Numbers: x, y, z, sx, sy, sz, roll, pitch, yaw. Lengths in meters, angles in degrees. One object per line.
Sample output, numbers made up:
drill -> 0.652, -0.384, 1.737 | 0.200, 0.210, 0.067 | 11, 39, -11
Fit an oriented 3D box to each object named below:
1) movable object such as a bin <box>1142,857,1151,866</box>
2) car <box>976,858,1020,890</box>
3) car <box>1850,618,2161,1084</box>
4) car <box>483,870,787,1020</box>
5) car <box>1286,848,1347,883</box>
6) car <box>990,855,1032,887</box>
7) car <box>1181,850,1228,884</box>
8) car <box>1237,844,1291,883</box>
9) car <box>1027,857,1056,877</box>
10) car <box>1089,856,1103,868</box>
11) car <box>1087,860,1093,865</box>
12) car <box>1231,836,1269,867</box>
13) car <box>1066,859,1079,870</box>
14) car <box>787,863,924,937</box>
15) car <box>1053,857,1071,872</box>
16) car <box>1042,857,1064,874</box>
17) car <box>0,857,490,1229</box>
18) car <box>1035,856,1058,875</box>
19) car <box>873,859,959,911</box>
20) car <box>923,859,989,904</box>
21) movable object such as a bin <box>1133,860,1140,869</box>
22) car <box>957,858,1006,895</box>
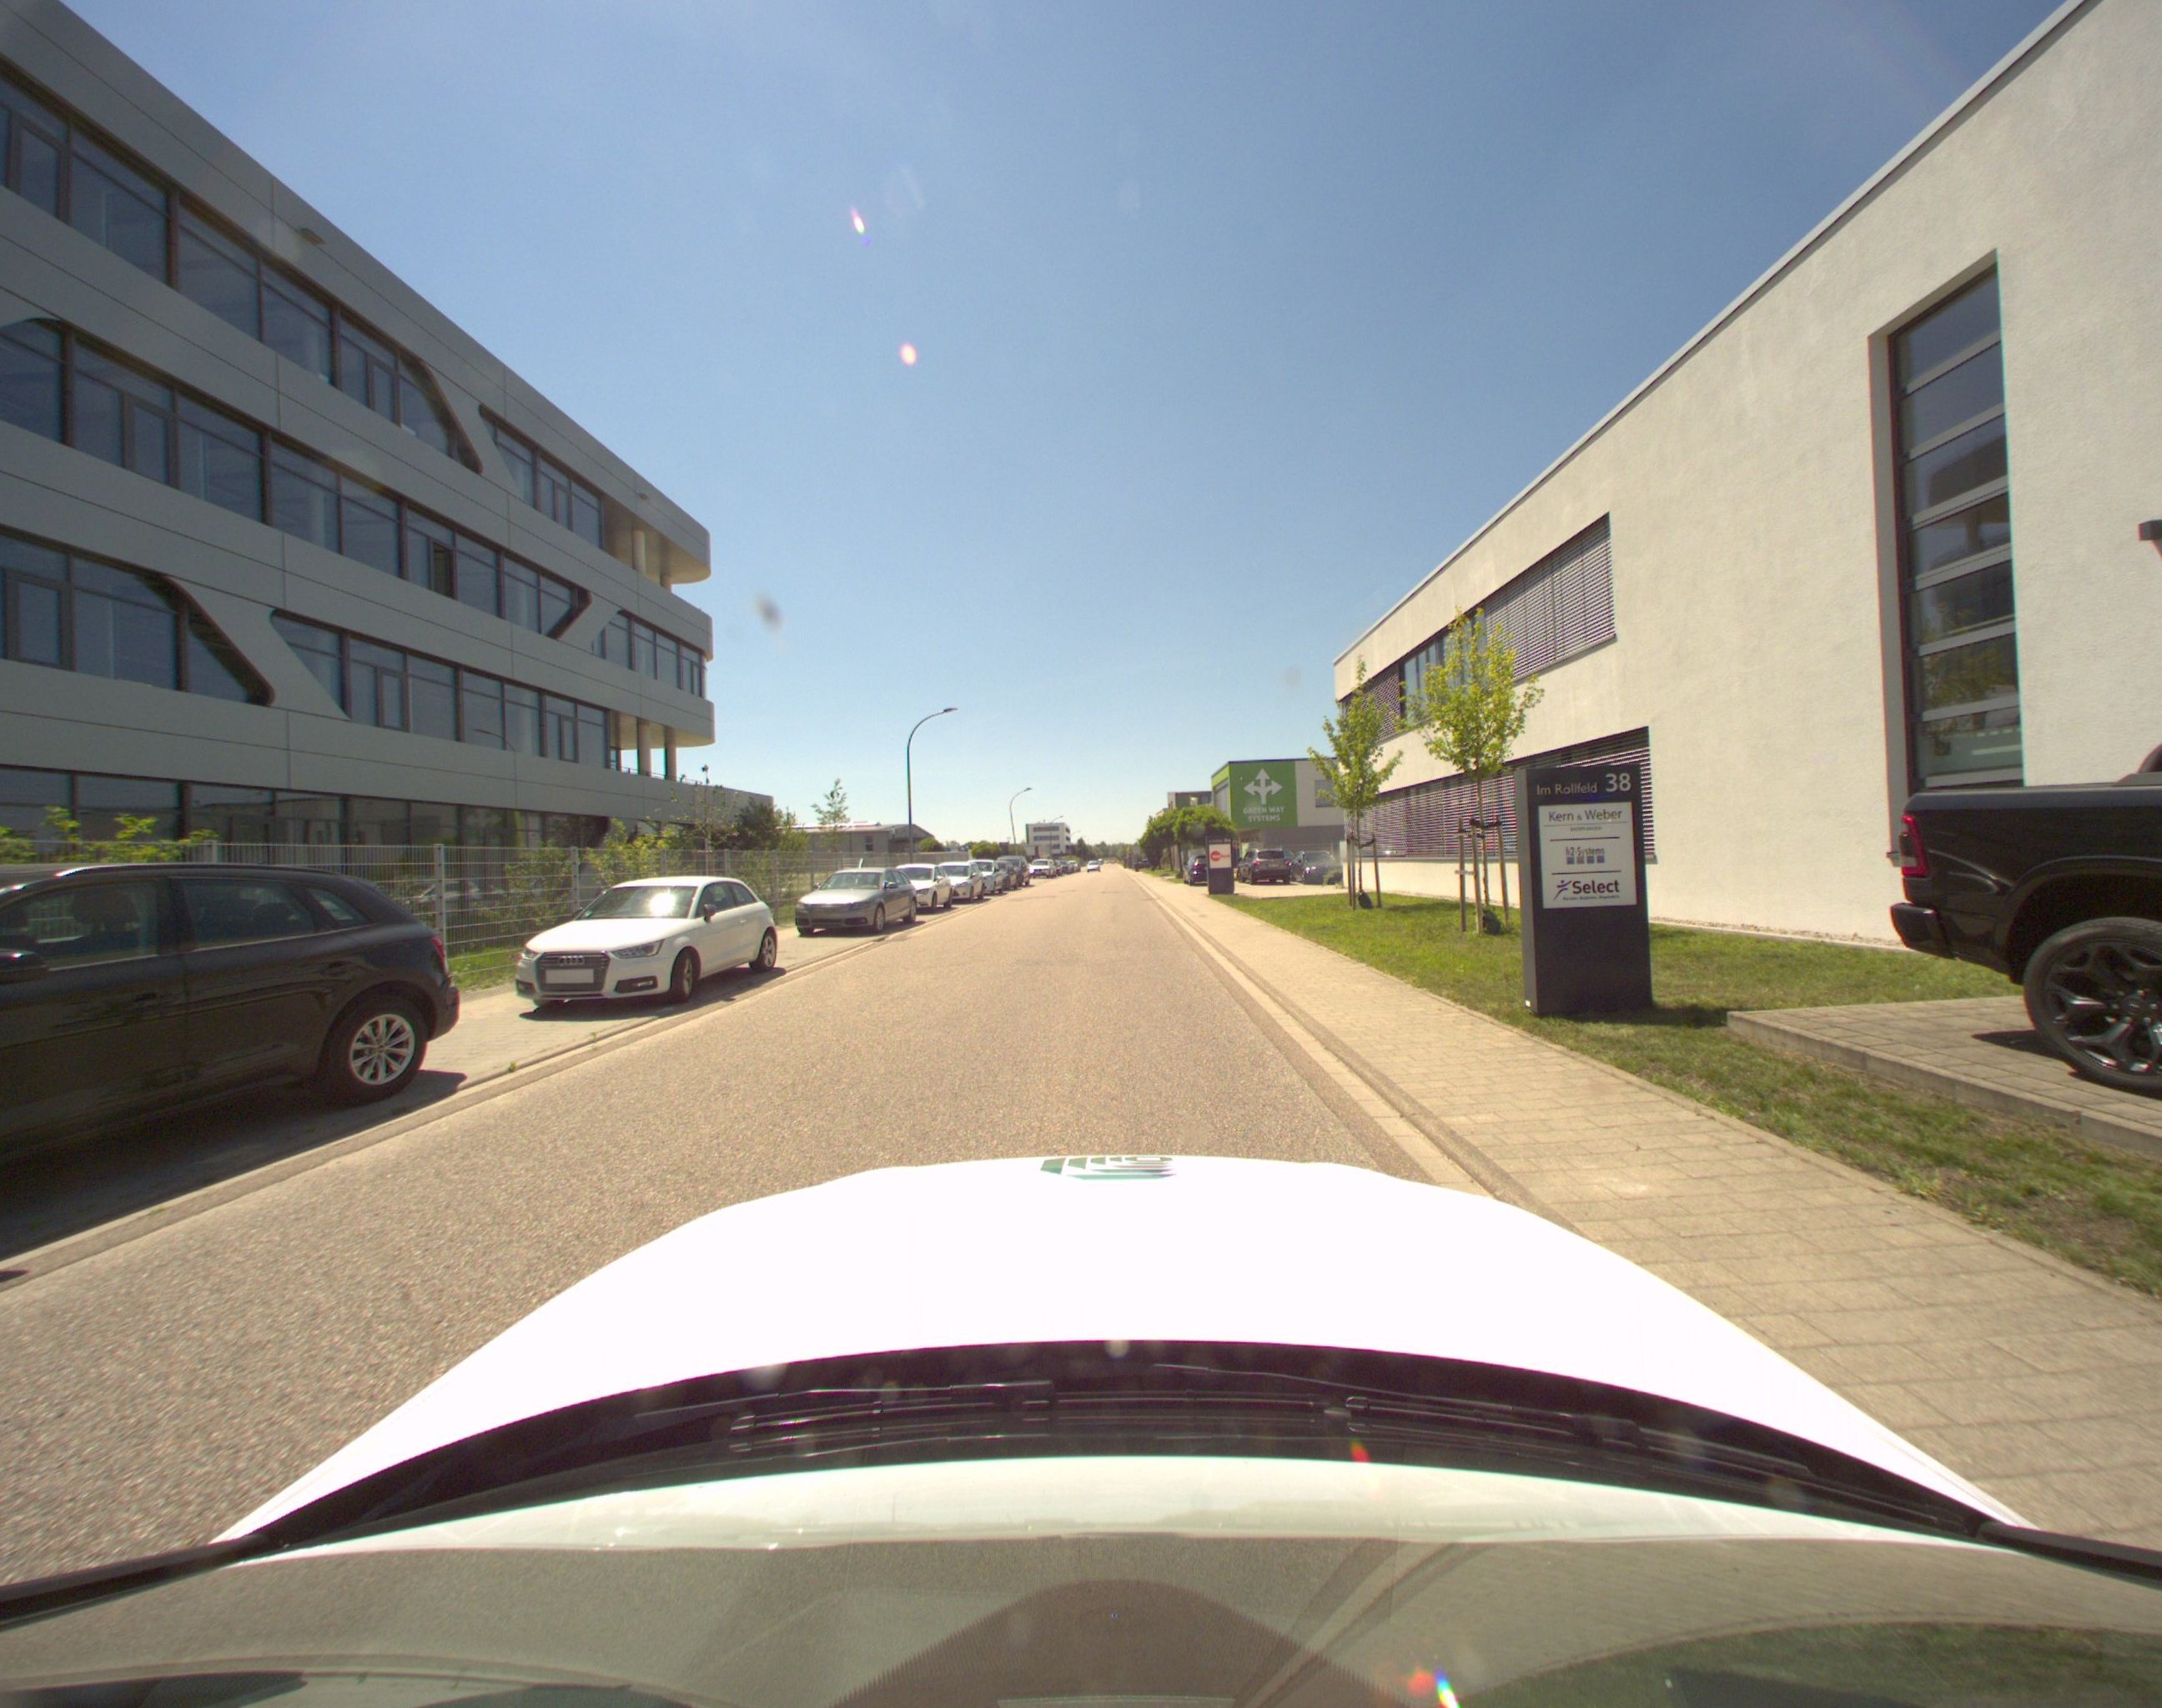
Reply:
movable object such as a bin -> 10.698, 1.232, 133.837 | 1.329, 1.459, 0.949 | -3, -1, 1
car -> -4.190, 1.002, 41.692 | 1.628, 1.500, 3.974 | -1, 0, 3
car -> 5.637, -0.004, 2.031 | 1.987, 2.013, 5.801 | -3, 2, 1
car -> -5.329, 0.984, 10.403 | 1.694, 1.386, 3.936 | -2, 0, -1
car -> 10.579, 0.485, 36.872 | 1.716, 1.449, 4.024 | -1, 0, 2
car -> -3.929, 0.943, 46.468 | 1.795, 1.719, 4.624 | -1, 0, 2
car -> 5.676, 0.569, 37.799 | 1.685, 1.428, 4.248 | -1, 0, 2
car -> 8.356, 0.418, 37.468 | 1.716, 1.633, 4.024 | -1, 0, 2
car -> -3.204, 1.020, 66.641 | 1.779, 1.542, 4.369 | -2, -1, 4
car -> 2.055, 1.065, 110.864 | 1.699, 1.411, 4.782 | -4, 0, -1
car -> 2.542, 2.365, 223.750 | 1.461, 1.490, 3.209 | -2, -1, 2
car -> 15.353, -0.200, 74.457 | 2.121, 2.494, 7.028 | -4, -1, 2
car -> -1.210, 1.500, 118.209 | 1.763, 1.592, 4.360 | -1, -1, 1
car -> -5.104, 0.972, 19.130 | 1.677, 1.386, 4.642 | -2, 0, 3
car -> -2.129, 1.204, 92.817 | 1.784, 1.607, 4.463 | -1, -1, 1
car -> -2.705, 1.125, 79.459 | 1.756, 1.517, 4.381 | -1, -1, 2
car -> -5.762, 0.896, 4.085 | 1.762, 1.651, 4.856 | -2, 0, 4
car -> -3.047, 1.019, 72.636 | 1.781, 1.656, 3.769 | -2, -1, 1
car -> -5.072, 0.918, 25.603 | 1.697, 1.444, 4.441 | -1, 0, 1
car -> -4.662, 0.968, 30.962 | 1.697, 1.536, 4.573 | -1, 0, 1
movable object such as a bin -> 5.971, 1.124, 87.184 | 0.548, 0.928, 0.523 | -6, -2, 12
car -> -4.429, 0.970, 36.614 | 1.629, 1.536, 3.659 | -1, 0, 1
